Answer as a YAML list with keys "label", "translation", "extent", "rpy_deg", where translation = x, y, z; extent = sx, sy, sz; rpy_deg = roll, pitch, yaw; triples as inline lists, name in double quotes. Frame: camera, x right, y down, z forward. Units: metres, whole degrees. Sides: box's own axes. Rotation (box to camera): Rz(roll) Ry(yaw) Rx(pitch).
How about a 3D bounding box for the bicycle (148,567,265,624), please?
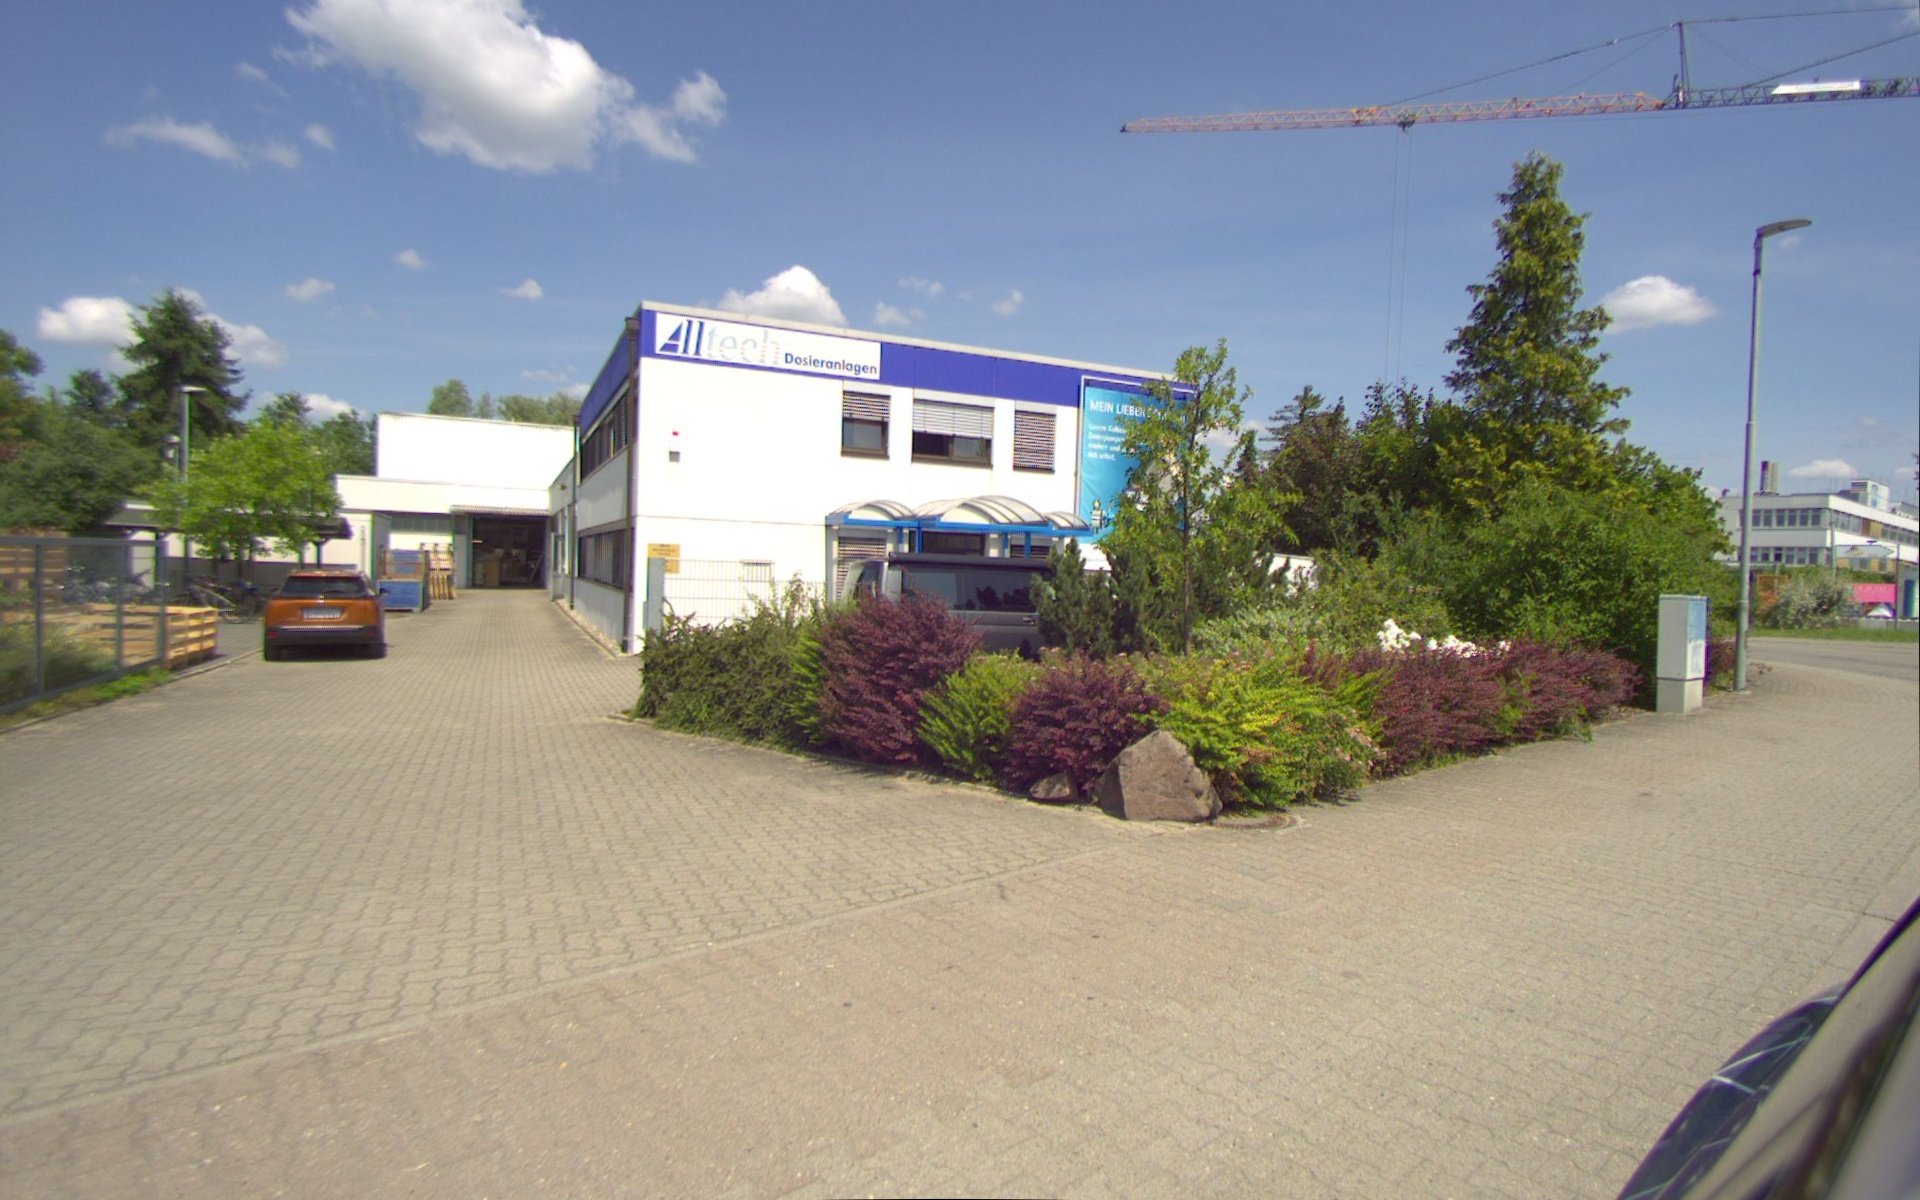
- label: "bicycle"
  translation: [-17.920, -0.121, 24.122]
  extent: [2.155, 1.286, 0.520]
  rpy_deg: [-1, 3, -21]

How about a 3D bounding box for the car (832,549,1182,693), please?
- label: "car"
  translation: [0.681, 0.181, 14.667]
  extent: [4.692, 1.819, 1.909]
  rpy_deg: [-1, 4, -22]

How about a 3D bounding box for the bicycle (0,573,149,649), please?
- label: "bicycle"
  translation: [-17.449, 0.192, 19.897]
  extent: [2.228, 1.398, 0.672]
  rpy_deg: [-1, 3, -28]

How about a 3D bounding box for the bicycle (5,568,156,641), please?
- label: "bicycle"
  translation: [-17.816, 0.059, 20.576]
  extent: [2.175, 1.378, 0.720]
  rpy_deg: [-1, 3, -28]

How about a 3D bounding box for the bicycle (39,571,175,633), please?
- label: "bicycle"
  translation: [-18.483, 0.016, 22.001]
  extent: [2.133, 1.242, 0.656]
  rpy_deg: [-2, 4, -29]

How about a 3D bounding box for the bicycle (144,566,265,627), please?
- label: "bicycle"
  translation: [-17.481, -0.098, 23.470]
  extent: [2.160, 1.358, 0.556]
  rpy_deg: [0, 3, -22]

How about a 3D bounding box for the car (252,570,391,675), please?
- label: "car"
  translation: [-11.463, 0.303, 18.405]
  extent: [1.806, 1.681, 4.053]
  rpy_deg: [0, 1, -28]

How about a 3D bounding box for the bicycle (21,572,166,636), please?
- label: "bicycle"
  translation: [-18.177, 0.060, 21.299]
  extent: [2.184, 1.261, 0.716]
  rpy_deg: [-2, 4, -29]
